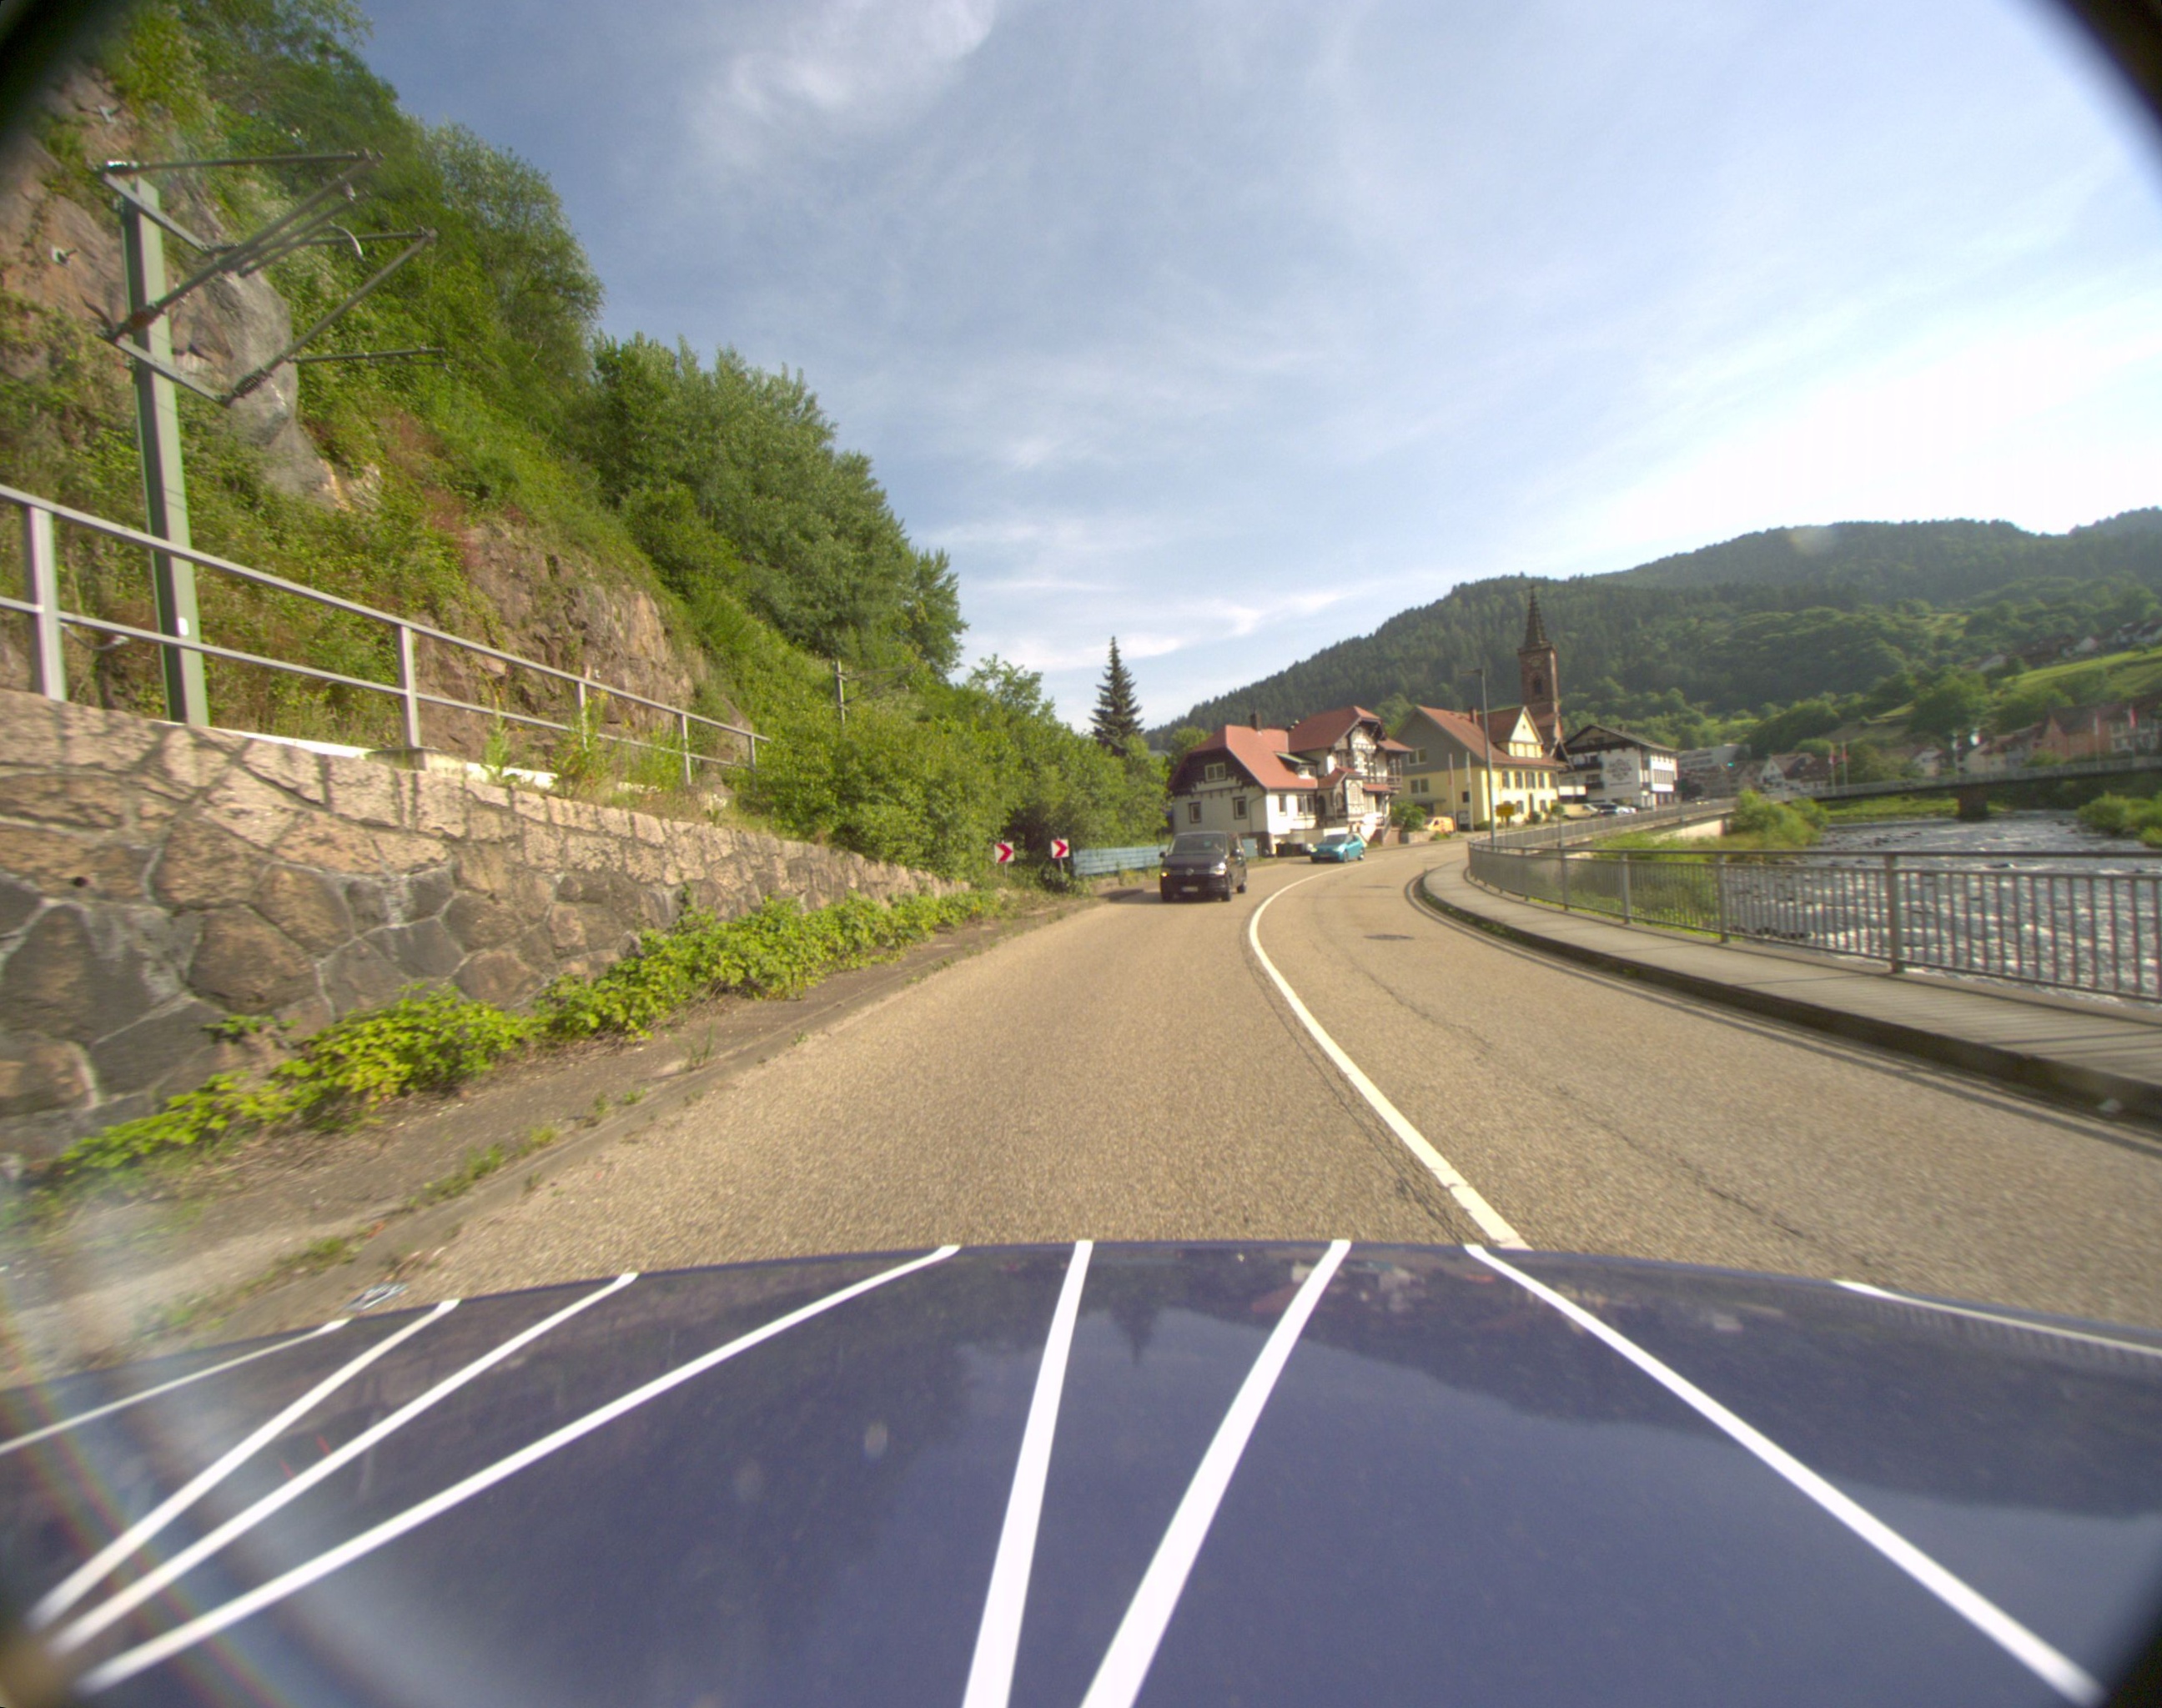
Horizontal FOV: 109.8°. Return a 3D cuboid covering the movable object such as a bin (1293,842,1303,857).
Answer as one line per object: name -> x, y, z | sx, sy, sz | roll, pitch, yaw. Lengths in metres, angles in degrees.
movable object such as a bin -> 14.342, -0.305, 50.278 | 0.368, 0.895, 0.548 | -4, 1, 39

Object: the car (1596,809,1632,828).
car -> 48.679, -3.266, 69.414 | 4.007, 1.634, 1.815 | -4, 5, -42

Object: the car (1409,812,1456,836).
car -> 30.715, -2.649, 66.341 | 4.843, 1.987, 1.909 | -4, 5, -40

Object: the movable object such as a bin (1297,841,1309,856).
movable object such as a bin -> 14.551, -0.341, 49.794 | 0.653, 0.931, 0.472 | -5, 1, -45

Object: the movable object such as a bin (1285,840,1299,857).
movable object such as a bin -> 14.057, -0.371, 50.638 | 0.754, 1.056, 0.477 | -5, 1, -45

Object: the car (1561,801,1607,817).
car -> 62.636, -5.628, 94.716 | 1.716, 1.948, 4.443 | -5, 6, -38

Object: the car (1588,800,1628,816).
car -> 65.912, -5.759, 95.063 | 1.373, 1.883, 3.747 | -5, 6, -38

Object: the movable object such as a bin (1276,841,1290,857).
movable object such as a bin -> 13.550, -0.344, 50.950 | 0.754, 1.056, 0.477 | -5, 1, -45

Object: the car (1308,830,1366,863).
car -> 13.880, -0.445, 41.074 | 1.679, 1.513, 3.872 | -1, 3, 38

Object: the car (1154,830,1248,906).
car -> 3.659, 0.313, 22.309 | 1.885, 1.953, 4.871 | -1, 2, 19
